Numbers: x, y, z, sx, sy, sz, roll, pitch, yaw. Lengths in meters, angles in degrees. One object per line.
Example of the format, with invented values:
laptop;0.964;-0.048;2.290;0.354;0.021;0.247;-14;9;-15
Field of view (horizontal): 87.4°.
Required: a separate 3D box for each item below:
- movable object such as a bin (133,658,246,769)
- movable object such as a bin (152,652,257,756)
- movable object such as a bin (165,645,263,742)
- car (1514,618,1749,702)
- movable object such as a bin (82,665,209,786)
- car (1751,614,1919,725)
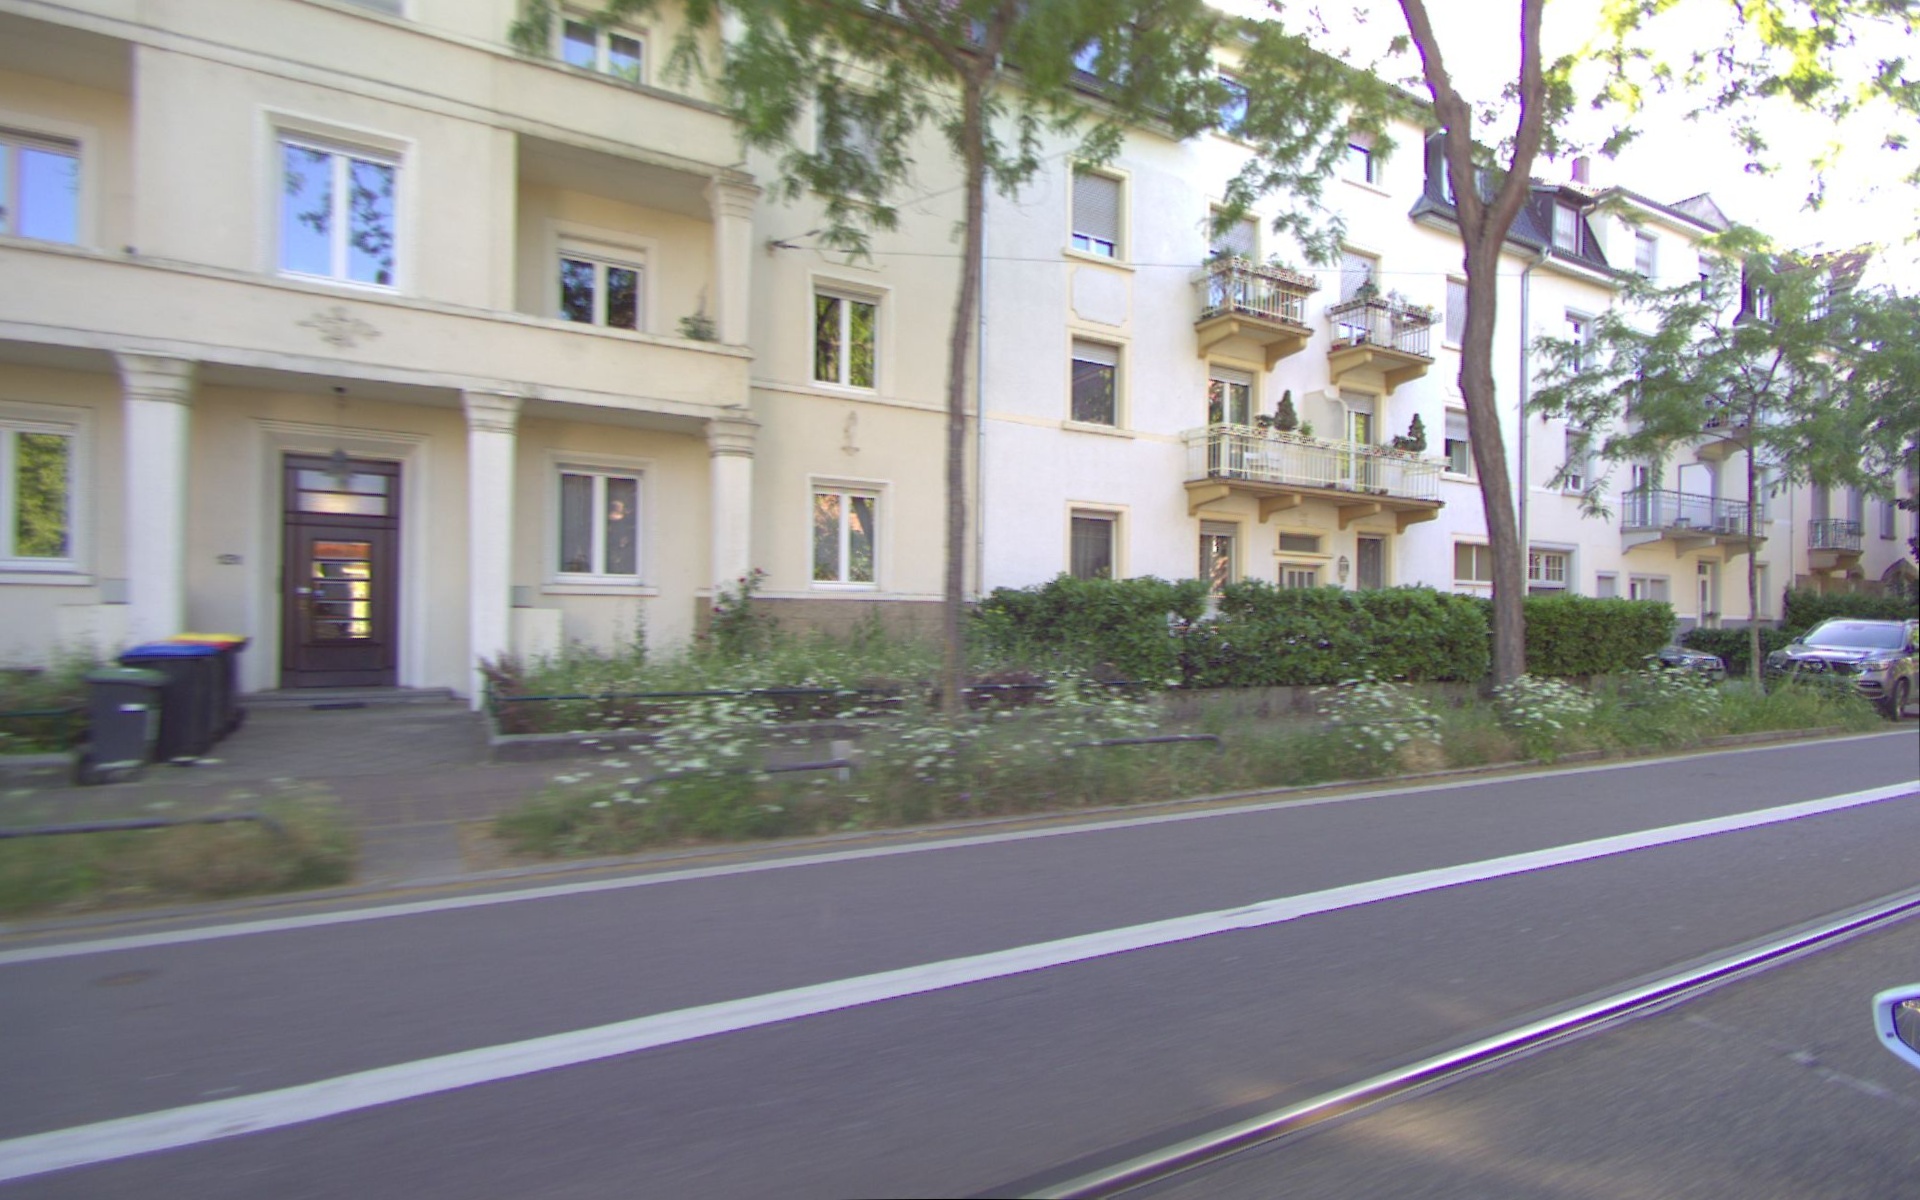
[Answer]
movable object such as a bin;-7.103;1.022;9.288;0.731;0.934;0.625;1;0;-30
movable object such as a bin;-7.393;0.999;9.860;0.731;0.934;0.625;1;0;-30
movable object such as a bin;-7.726;0.950;10.433;0.731;0.934;0.625;1;0;-30
car;15.917;1.362;24.059;1.929;1.683;4.282;1;0;-28
movable object such as a bin;-6.927;1.043;8.582;0.731;0.934;0.625;1;0;-30
car;17.144;1.238;19.089;4.720;1.847;1.860;1;0;-33
